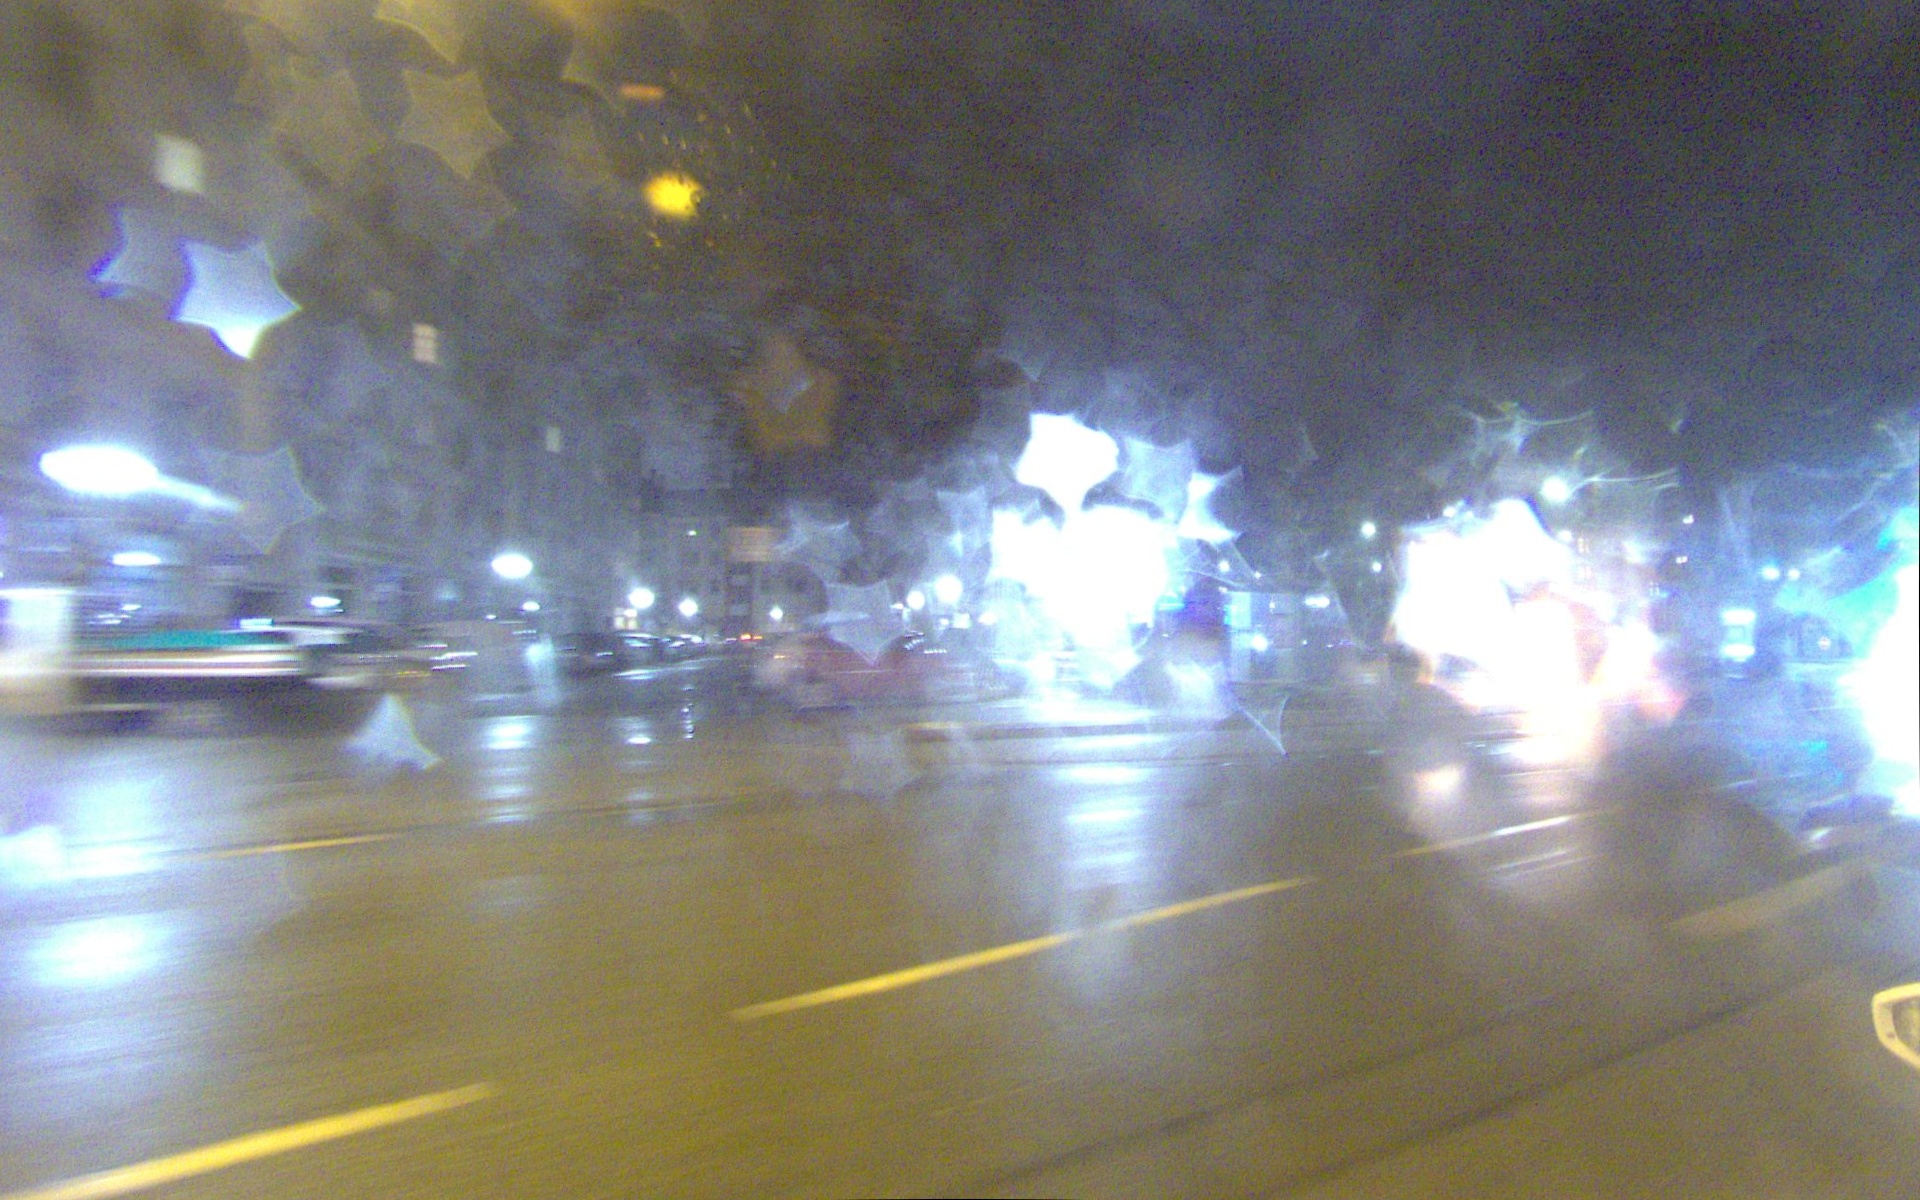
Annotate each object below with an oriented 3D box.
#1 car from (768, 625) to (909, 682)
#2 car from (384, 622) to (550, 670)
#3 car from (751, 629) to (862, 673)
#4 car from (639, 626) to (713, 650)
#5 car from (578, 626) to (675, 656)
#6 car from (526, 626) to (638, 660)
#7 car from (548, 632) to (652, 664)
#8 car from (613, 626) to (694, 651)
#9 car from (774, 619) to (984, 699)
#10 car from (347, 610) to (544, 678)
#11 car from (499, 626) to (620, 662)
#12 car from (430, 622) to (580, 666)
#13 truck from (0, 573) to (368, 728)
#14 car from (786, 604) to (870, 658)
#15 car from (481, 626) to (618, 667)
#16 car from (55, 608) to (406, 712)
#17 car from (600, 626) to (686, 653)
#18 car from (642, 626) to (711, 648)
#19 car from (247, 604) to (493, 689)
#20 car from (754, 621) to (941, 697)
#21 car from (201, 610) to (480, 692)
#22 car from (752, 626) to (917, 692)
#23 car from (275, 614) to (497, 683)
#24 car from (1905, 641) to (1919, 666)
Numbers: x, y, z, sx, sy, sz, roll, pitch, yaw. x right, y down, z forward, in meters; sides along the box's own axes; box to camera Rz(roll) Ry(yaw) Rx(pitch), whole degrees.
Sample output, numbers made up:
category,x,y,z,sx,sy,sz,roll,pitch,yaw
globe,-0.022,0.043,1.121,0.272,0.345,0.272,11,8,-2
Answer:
category,x,y,z,sx,sy,sz,roll,pitch,yaw
car,-3.459,1.509,28.526,3.848,1.540,1.716,1,-2,-10
car,-15.750,1.472,32.322,4.414,1.462,1.867,1,-2,-10
car,-5.533,1.830,36.296,3.848,1.540,1.716,1,-2,-10
car,-18.328,2.464,64.918,4.414,1.462,1.867,1,-2,-10
car,-16.882,2.095,51.035,4.414,1.462,1.867,1,-2,-10
car,-16.875,1.922,45.067,4.414,1.462,1.867,1,-2,-10
car,-17.188,2.313,48.134,4.414,1.462,1.867,1,-2,-10
car,-18.292,2.304,60.052,4.414,1.462,1.867,1,-2,-10
car,-1.595,1.125,19.344,3.848,1.450,1.716,1,-2,-10
car,-14.076,1.210,27.730,4.414,1.783,1.867,1,-2,-10
car,-16.870,1.848,42.521,4.414,1.462,1.867,1,-2,-10
car,-15.821,1.550,35.137,4.414,1.462,1.867,1,-2,-10
truck,-11.767,0.697,14.415,5.168,2.040,2.126,0,-2,-11
car,-6.972,1.653,53.012,4.276,2.767,1.716,1,-2,-10
car,-15.276,1.741,37.585,4.414,1.462,1.867,1,-2,-10
car,-12.205,1.012,17.122,4.414,1.634,1.867,1,-2,-10
car,-17.925,2.248,56.960,4.414,1.462,1.867,1,-2,-10
car,-19.691,2.573,69.951,4.414,1.462,1.867,1,-2,-10
car,-13.307,1.062,22.923,4.414,1.818,1.867,1,-2,-10
car,-2.445,1.266,21.773,3.848,1.540,1.716,1,-2,-10
car,-12.477,1.038,20.527,4.414,1.560,1.867,1,-2,-10
car,-3.059,1.422,24.470,3.848,1.540,1.716,1,-2,-10
car,-14.240,1.205,25.177,4.414,1.634,1.867,1,-2,-10
car,69.807,3.764,71.360,4.116,1.723,1.701,-1,-1,-9
